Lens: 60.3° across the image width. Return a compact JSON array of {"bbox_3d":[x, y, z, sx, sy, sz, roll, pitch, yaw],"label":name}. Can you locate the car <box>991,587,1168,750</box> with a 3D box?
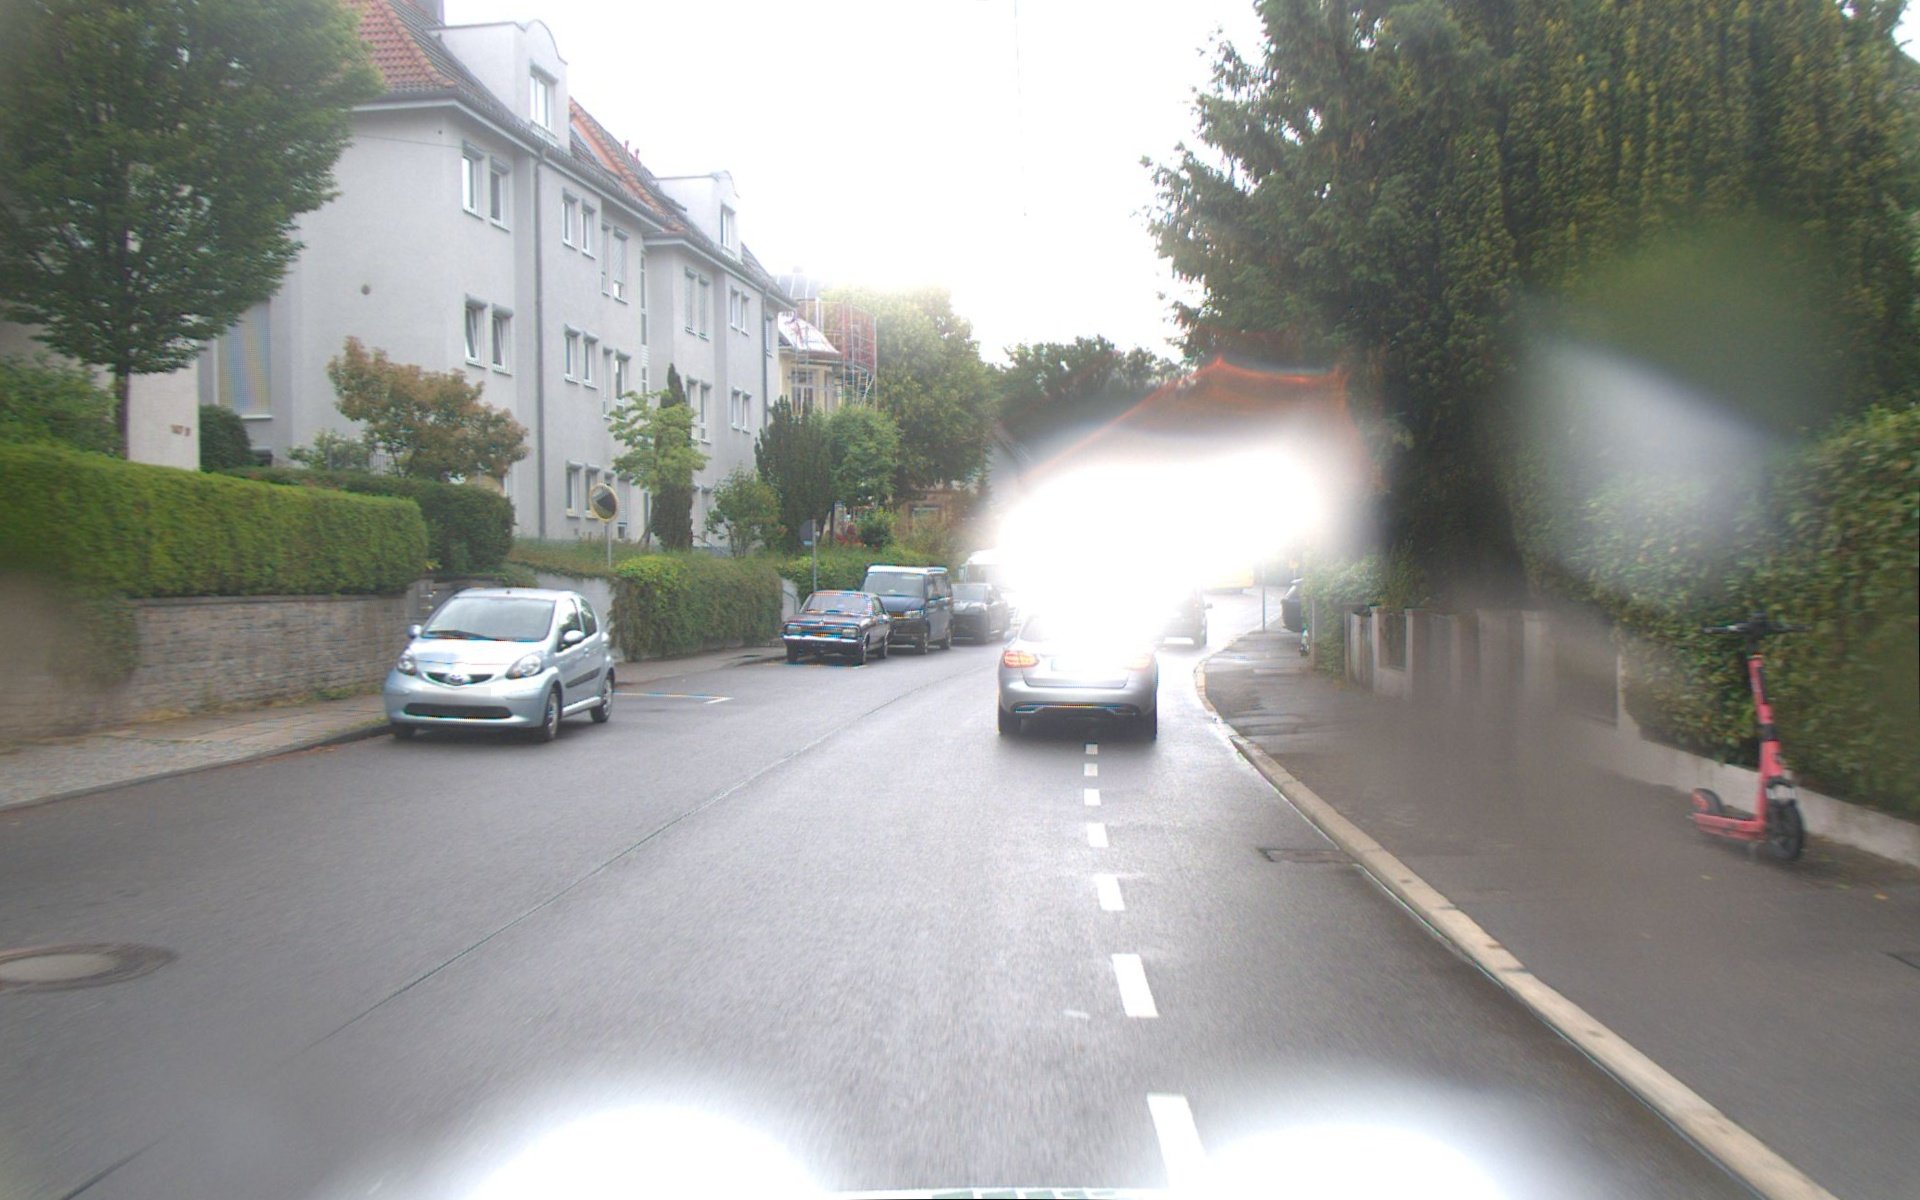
[{"bbox_3d":[1.424,0.687,19.036,1.778,1.583,4.003,1,1,6],"label":"car"}]

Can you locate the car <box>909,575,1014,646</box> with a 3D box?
[{"bbox_3d":[0.107,0.253,46.587,1.951,1.717,4.681,2,3,13],"label":"car"}]

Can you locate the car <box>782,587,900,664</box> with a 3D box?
[{"bbox_3d":[-2.427,0.483,34.828,1.608,1.442,4.616,1,1,7],"label":"car"}]

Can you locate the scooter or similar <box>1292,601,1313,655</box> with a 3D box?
[{"bbox_3d":[8.001,0.644,38.654,0.446,1.221,1.868,1,0,12],"label":"scooter or similar"}]

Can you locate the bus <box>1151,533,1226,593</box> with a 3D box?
[{"bbox_3d":[15.267,-2.577,111.230,2.871,3.714,10.296,1,3,-4],"label":"bus"}]

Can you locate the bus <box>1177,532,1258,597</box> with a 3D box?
[{"bbox_3d":[15.813,-2.278,102.490,2.870,3.714,10.165,1,3,-3],"label":"bus"}]

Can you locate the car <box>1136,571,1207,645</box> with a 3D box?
[{"bbox_3d":[5.975,0.209,46.425,1.803,1.937,4.003,1,0,9],"label":"car"}]

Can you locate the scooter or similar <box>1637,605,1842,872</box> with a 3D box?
[{"bbox_3d":[4.216,0.697,9.041,0.440,1.330,1.482,-1,0,2],"label":"scooter or similar"}]

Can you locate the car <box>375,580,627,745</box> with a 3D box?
[{"bbox_3d":[-4.656,0.577,17.249,1.572,1.512,3.488,1,0,1],"label":"car"}]

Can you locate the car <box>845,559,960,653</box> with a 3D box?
[{"bbox_3d":[-1.313,0.120,40.171,1.790,2.092,5.014,1,0,9],"label":"car"}]

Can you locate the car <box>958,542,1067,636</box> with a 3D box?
[{"bbox_3d":[1.796,-0.440,53.863,2.340,2.820,6.538,1,2,12],"label":"car"}]

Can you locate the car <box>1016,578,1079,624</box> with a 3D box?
[{"bbox_3d":[3.167,0.001,59.451,1.676,1.472,3.258,2,3,13],"label":"car"}]

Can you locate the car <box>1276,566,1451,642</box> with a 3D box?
[{"bbox_3d":[11.243,0.102,46.354,4.562,1.907,2.002,-2,0,10],"label":"car"}]

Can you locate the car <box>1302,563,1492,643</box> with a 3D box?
[{"bbox_3d":[11.300,0.082,43.097,4.562,1.844,2.002,-2,0,10],"label":"car"}]
